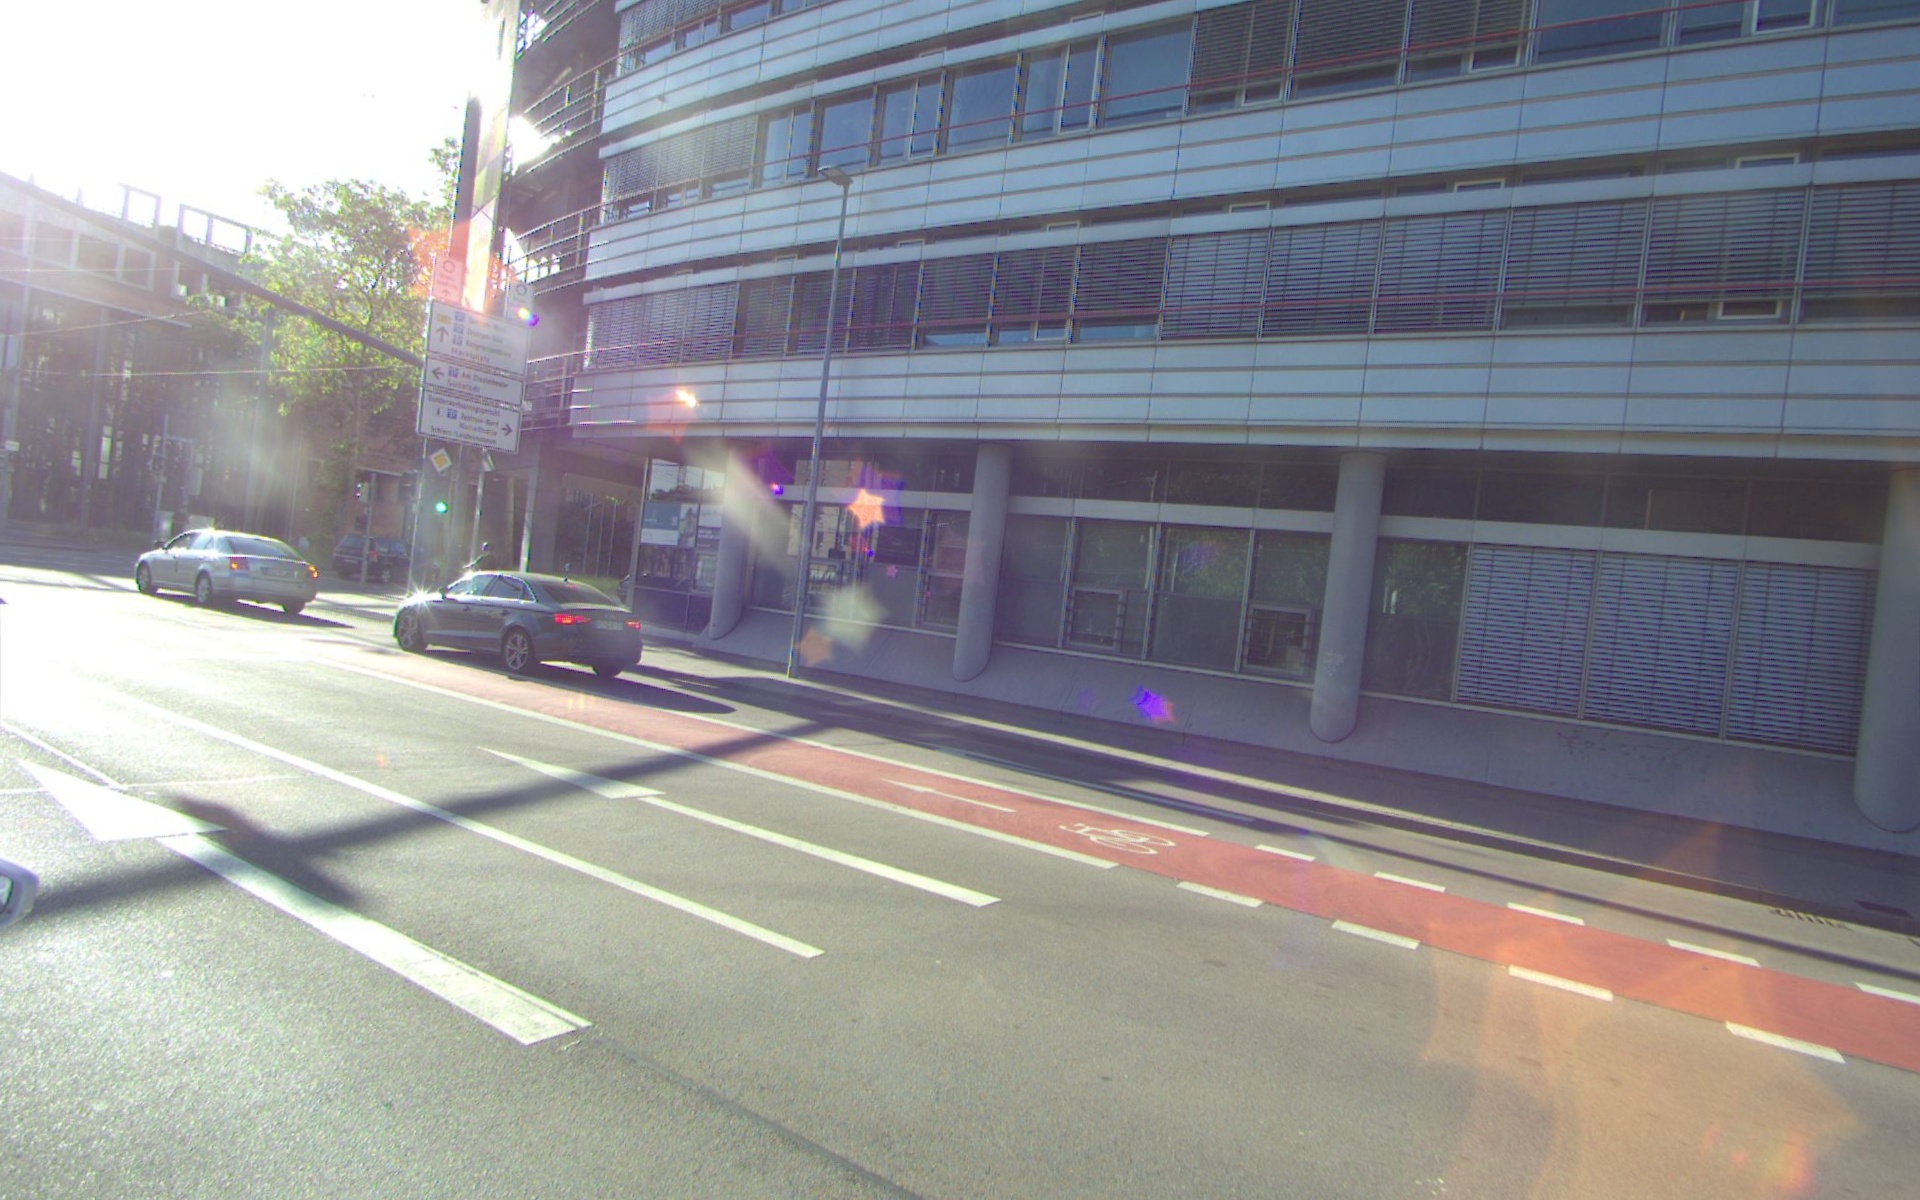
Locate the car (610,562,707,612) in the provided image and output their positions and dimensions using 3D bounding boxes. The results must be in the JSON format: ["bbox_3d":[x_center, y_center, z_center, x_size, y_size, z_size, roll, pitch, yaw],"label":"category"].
[{"bbox_3d":[-13.439,-0.535,45.009,1.832,1.670,4.000,7,-2,24],"label":"car"}]

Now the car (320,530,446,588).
[{"bbox_3d":[-21.129,-1.439,37.085,1.661,1.648,4.465,7,-1,5],"label":"car"}]

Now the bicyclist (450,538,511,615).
[{"bbox_3d":[-10.806,-0.523,22.659,1.026,1.586,0.625,7,1,30],"label":"bicyclist"}]

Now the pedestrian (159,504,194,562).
[{"bbox_3d":[-25.513,-2.176,32.761,0.701,1.781,0.556,6,1,-33],"label":"pedestrian"}]

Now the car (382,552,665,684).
[{"bbox_3d":[-6.613,0.245,15.169,4.040,1.459,1.712,7,1,29],"label":"car"}]

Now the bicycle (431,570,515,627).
[{"bbox_3d":[-10.995,-0.050,22.687,2.168,1.045,0.499,7,0,30],"label":"bicycle"}]

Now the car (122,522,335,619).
[{"bbox_3d":[-14.878,-0.616,20.403,4.412,1.448,1.754,7,0,30],"label":"car"}]
